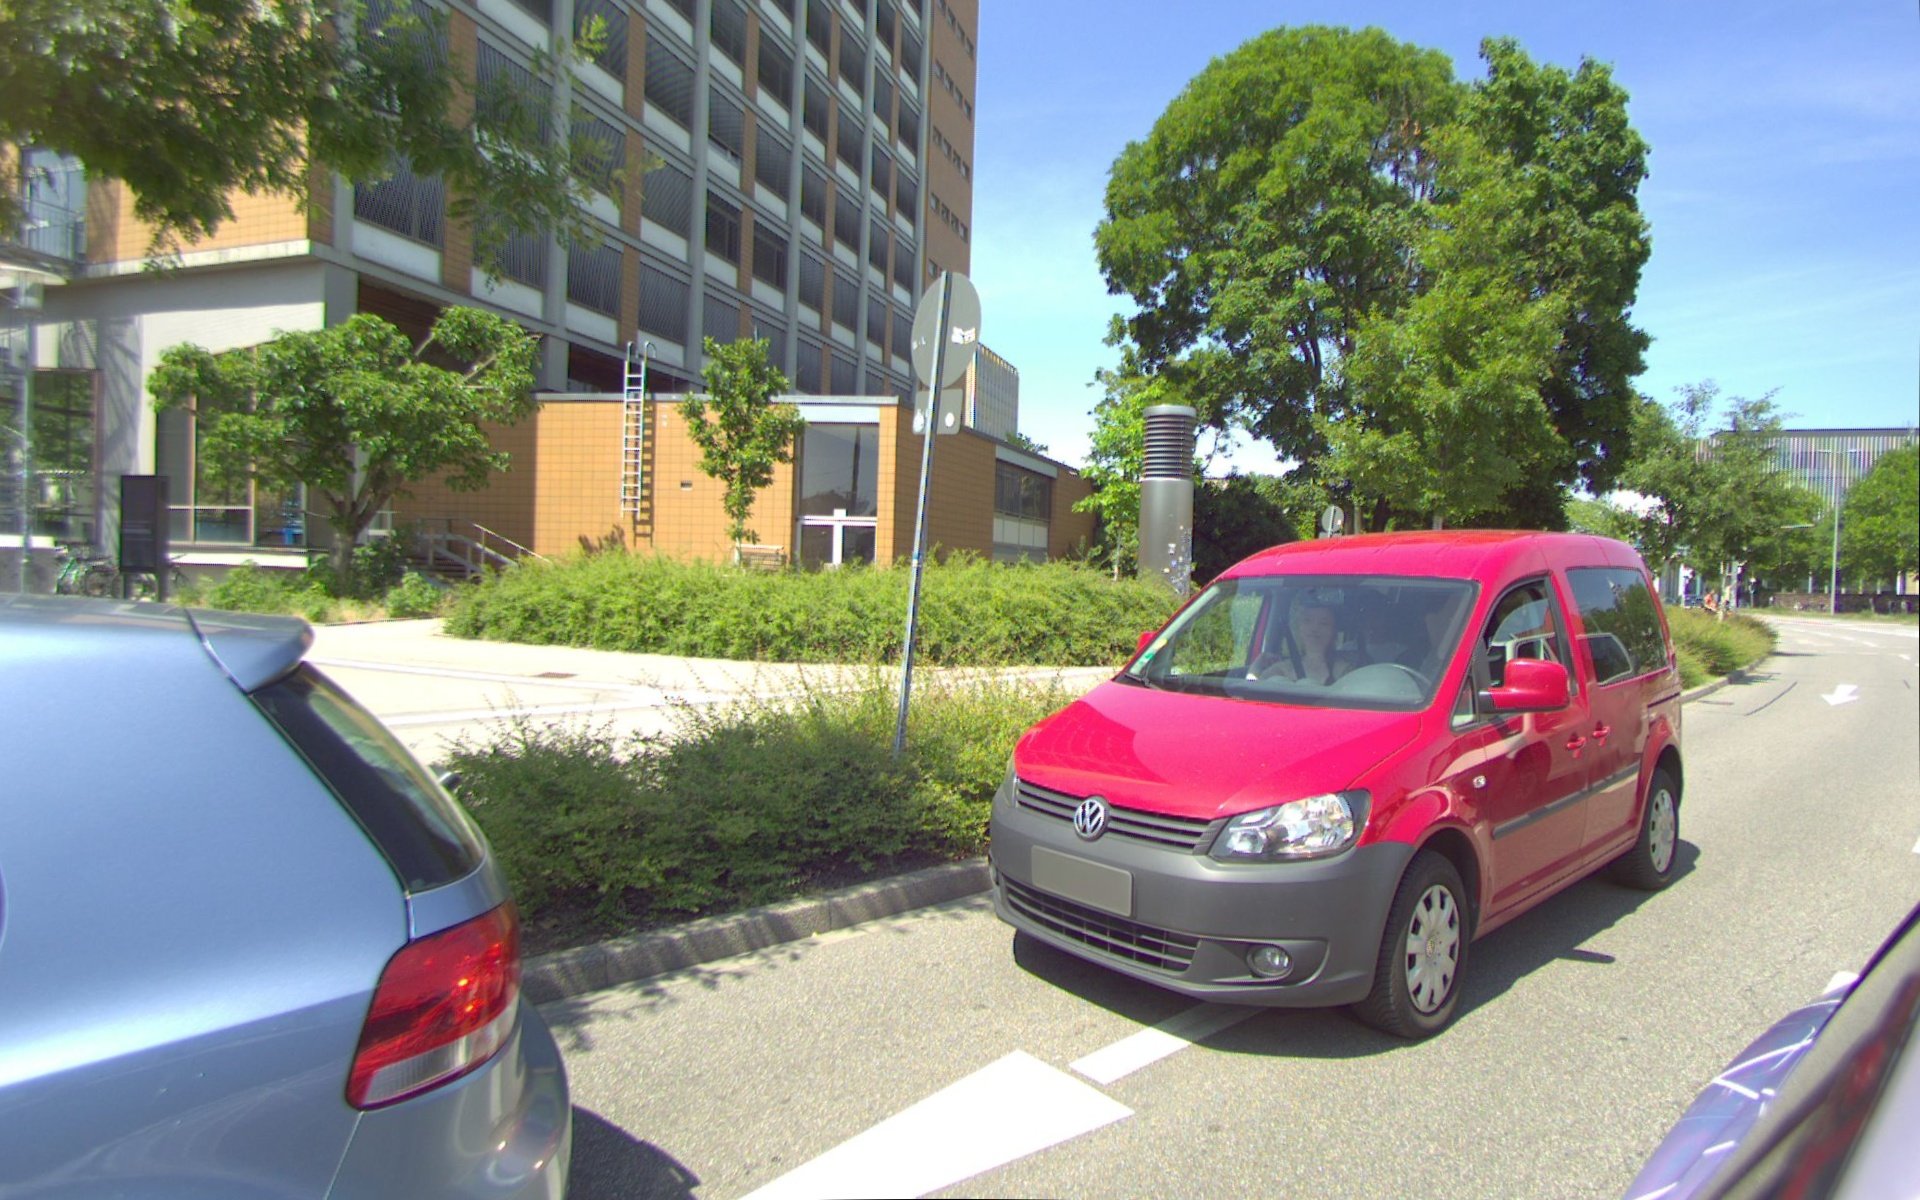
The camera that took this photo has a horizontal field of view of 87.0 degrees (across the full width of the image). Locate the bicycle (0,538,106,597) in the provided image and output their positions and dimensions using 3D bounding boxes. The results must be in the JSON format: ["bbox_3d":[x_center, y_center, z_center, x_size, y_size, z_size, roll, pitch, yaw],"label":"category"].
[{"bbox_3d":[-20.003,-0.686,21.974,0.630,1.233,2.201,0,0,22],"label":"bicycle"}]

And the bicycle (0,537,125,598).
[{"bbox_3d":[-19.301,-0.676,21.652,0.630,1.233,2.201,0,0,22],"label":"bicycle"}]

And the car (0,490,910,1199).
[{"bbox_3d":[-2.122,0.617,1.138,3.932,1.477,1.655,0,0,-40],"label":"car"}]

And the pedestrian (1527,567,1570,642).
[{"bbox_3d":[14.554,0.102,25.035,0.603,1.820,0.728,1,1,-40],"label":"pedestrian"}]

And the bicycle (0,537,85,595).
[{"bbox_3d":[-20.750,-0.735,22.282,0.630,1.233,2.201,0,0,22],"label":"bicycle"}]

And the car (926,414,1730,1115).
[{"bbox_3d":[2.089,0.430,4.823,4.466,1.882,1.654,0,1,-41],"label":"car"}]
